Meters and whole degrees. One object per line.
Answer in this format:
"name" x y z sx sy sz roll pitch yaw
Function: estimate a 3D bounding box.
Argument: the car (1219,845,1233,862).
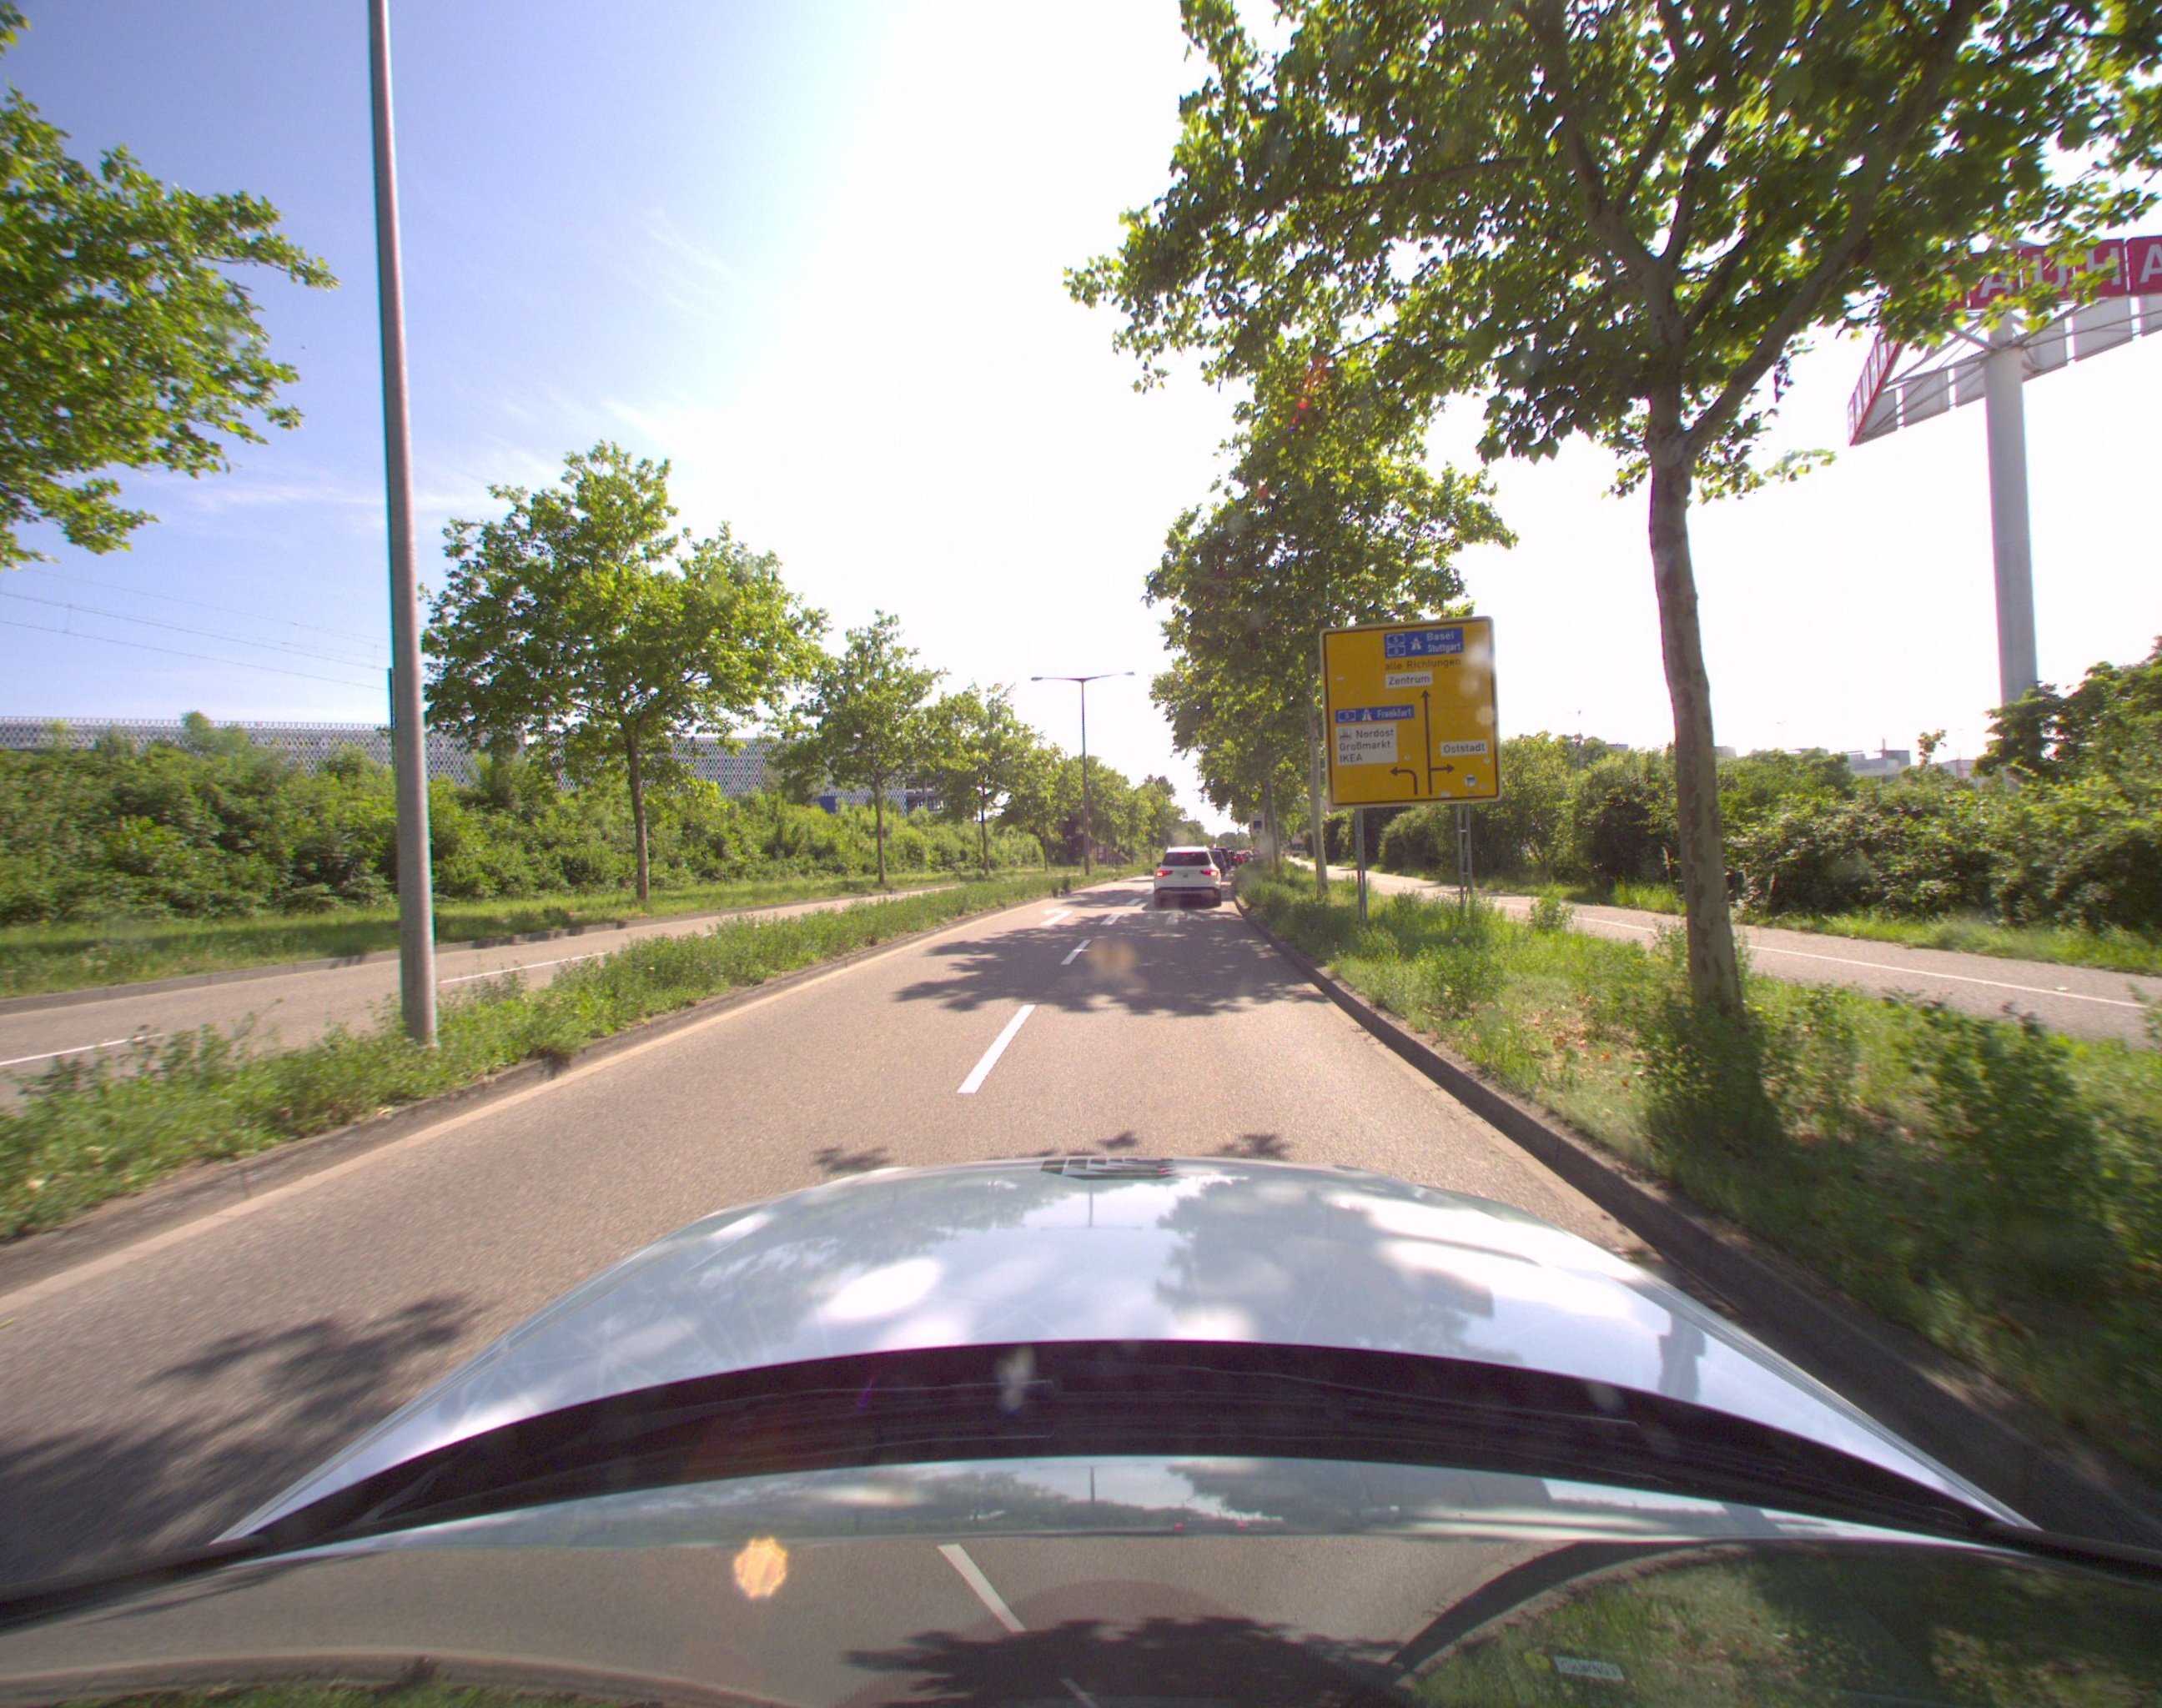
"car" 23.952 -0.074 134.471 2.067 2.656 4.892 -1 -1 13

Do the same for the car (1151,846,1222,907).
"car" 3.104 0.609 23.520 1.842 1.607 4.010 -1 -1 9

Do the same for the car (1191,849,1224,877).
"car" 7.628 0.539 49.135 1.842 1.607 4.010 -1 -1 9
